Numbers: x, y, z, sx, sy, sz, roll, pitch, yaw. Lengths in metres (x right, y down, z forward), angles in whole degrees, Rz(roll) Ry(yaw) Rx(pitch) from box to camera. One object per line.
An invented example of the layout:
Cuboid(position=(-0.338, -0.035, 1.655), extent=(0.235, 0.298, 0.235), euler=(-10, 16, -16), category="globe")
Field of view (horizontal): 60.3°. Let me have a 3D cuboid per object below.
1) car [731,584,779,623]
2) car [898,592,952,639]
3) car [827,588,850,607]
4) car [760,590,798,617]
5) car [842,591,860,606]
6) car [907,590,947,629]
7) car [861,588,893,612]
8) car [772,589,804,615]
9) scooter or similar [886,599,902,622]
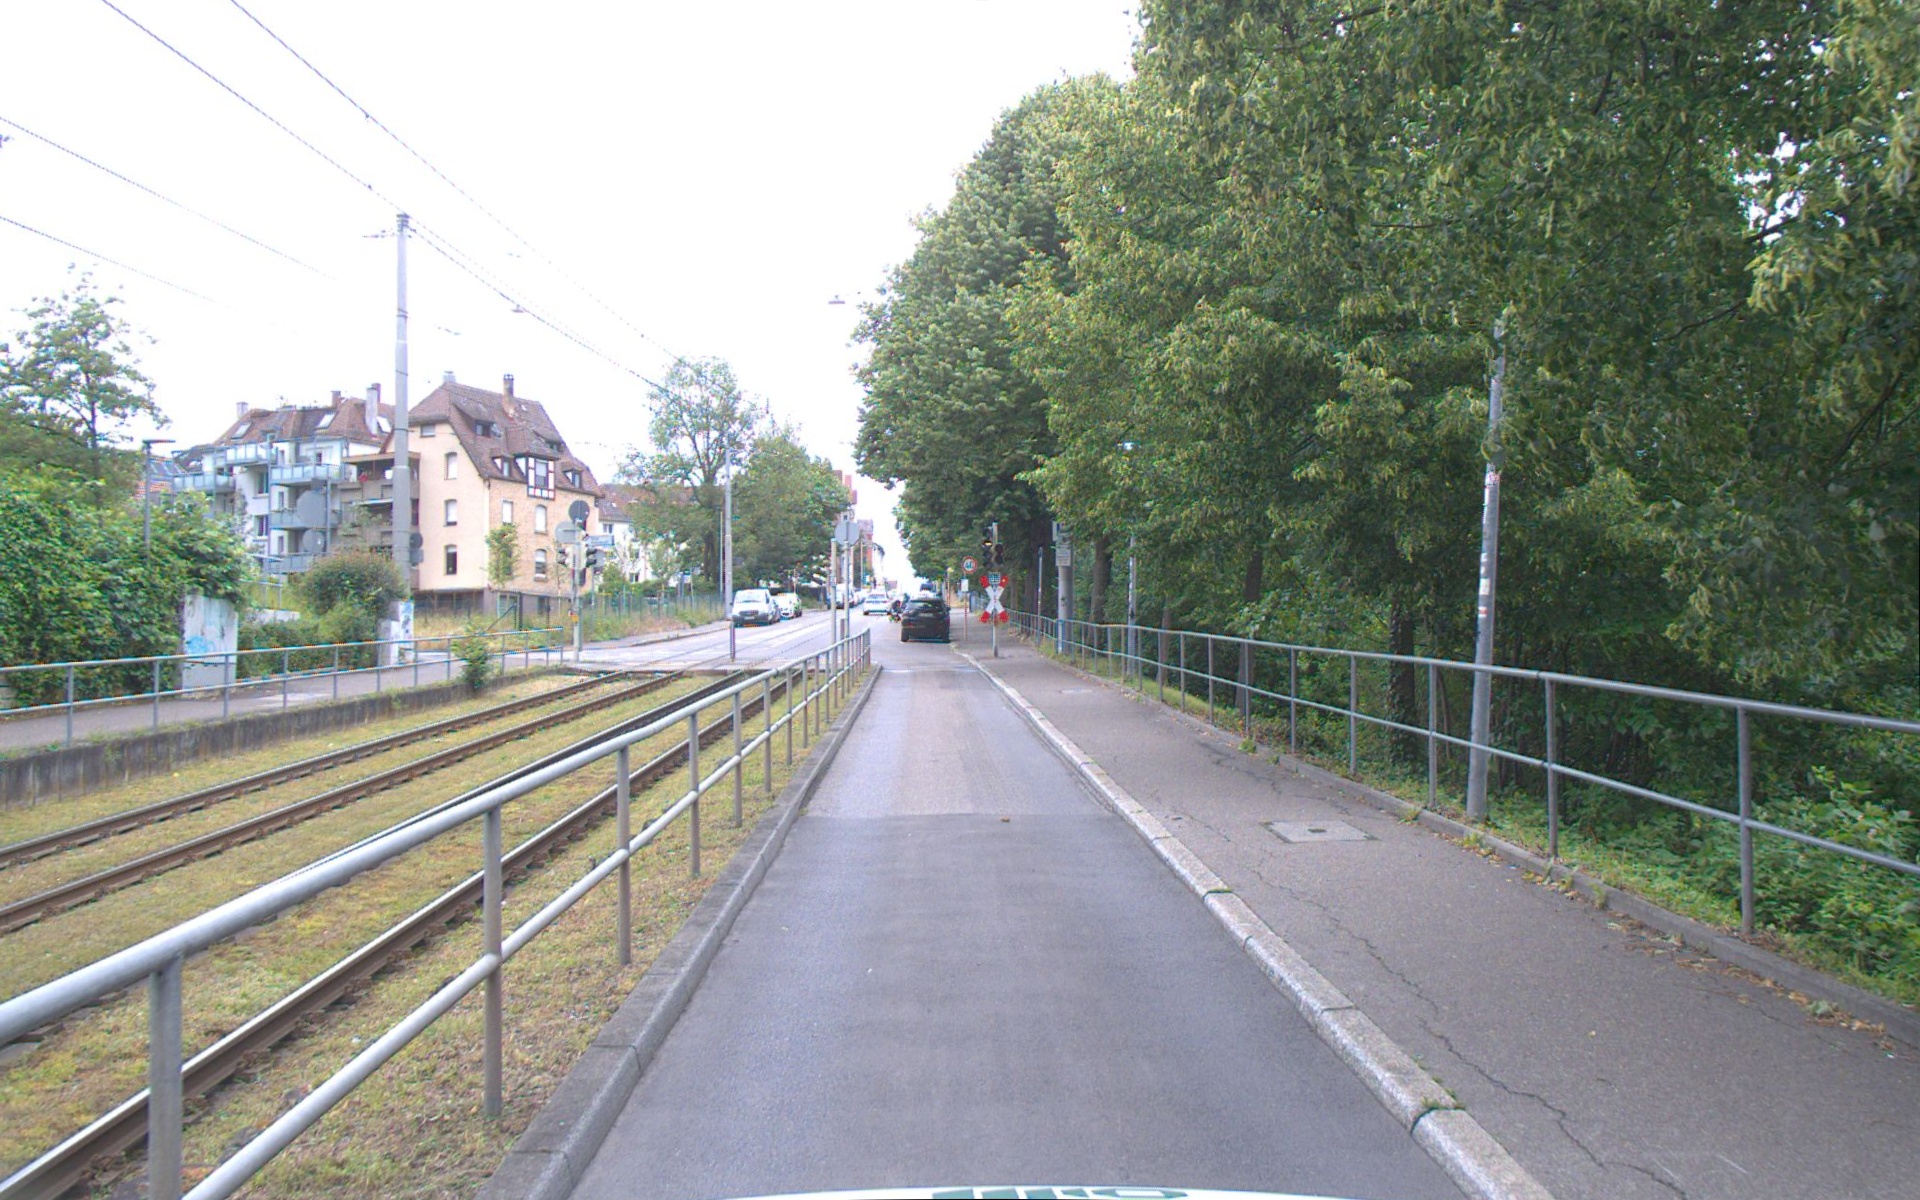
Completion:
Cuboid(position=(-10.748, 0.212, 87.015), extent=(1.995, 1.914, 4.883), euler=(-3, 0, -2), category="car")
Cuboid(position=(-1.266, 0.529, 61.714), extent=(1.865, 1.643, 4.600), euler=(1, 0, 0), category="car")
Cuboid(position=(-12.327, -0.214, 167.657), extent=(1.952, 1.840, 4.000), euler=(0, -1, 0), category="car")
Cuboid(position=(-11.074, 0.216, 101.421), extent=(1.847, 1.552, 4.662), euler=(-1, 0, -1), category="car")
Cuboid(position=(-12.684, -0.185, 192.457), extent=(1.954, 1.628, 4.309), euler=(0, 0, -3), category="car")
Cuboid(position=(-1.586, 0.410, 77.411), extent=(1.692, 1.659, 4.086), euler=(4, 0, -3), category="car")
Cuboid(position=(-5.446, 0.031, 108.948), extent=(1.953, 1.525, 4.311), euler=(1, -1, -1), category="car")
Cuboid(position=(-11.115, 0.104, 107.216), extent=(1.688, 1.607, 4.180), euler=(-1, 0, -1), category="car")
Cuboid(position=(-3.547, 0.546, 89.179), extent=(0.820, 1.217, 0.806), euler=(0, -1, -7), category="scooter or similar")
